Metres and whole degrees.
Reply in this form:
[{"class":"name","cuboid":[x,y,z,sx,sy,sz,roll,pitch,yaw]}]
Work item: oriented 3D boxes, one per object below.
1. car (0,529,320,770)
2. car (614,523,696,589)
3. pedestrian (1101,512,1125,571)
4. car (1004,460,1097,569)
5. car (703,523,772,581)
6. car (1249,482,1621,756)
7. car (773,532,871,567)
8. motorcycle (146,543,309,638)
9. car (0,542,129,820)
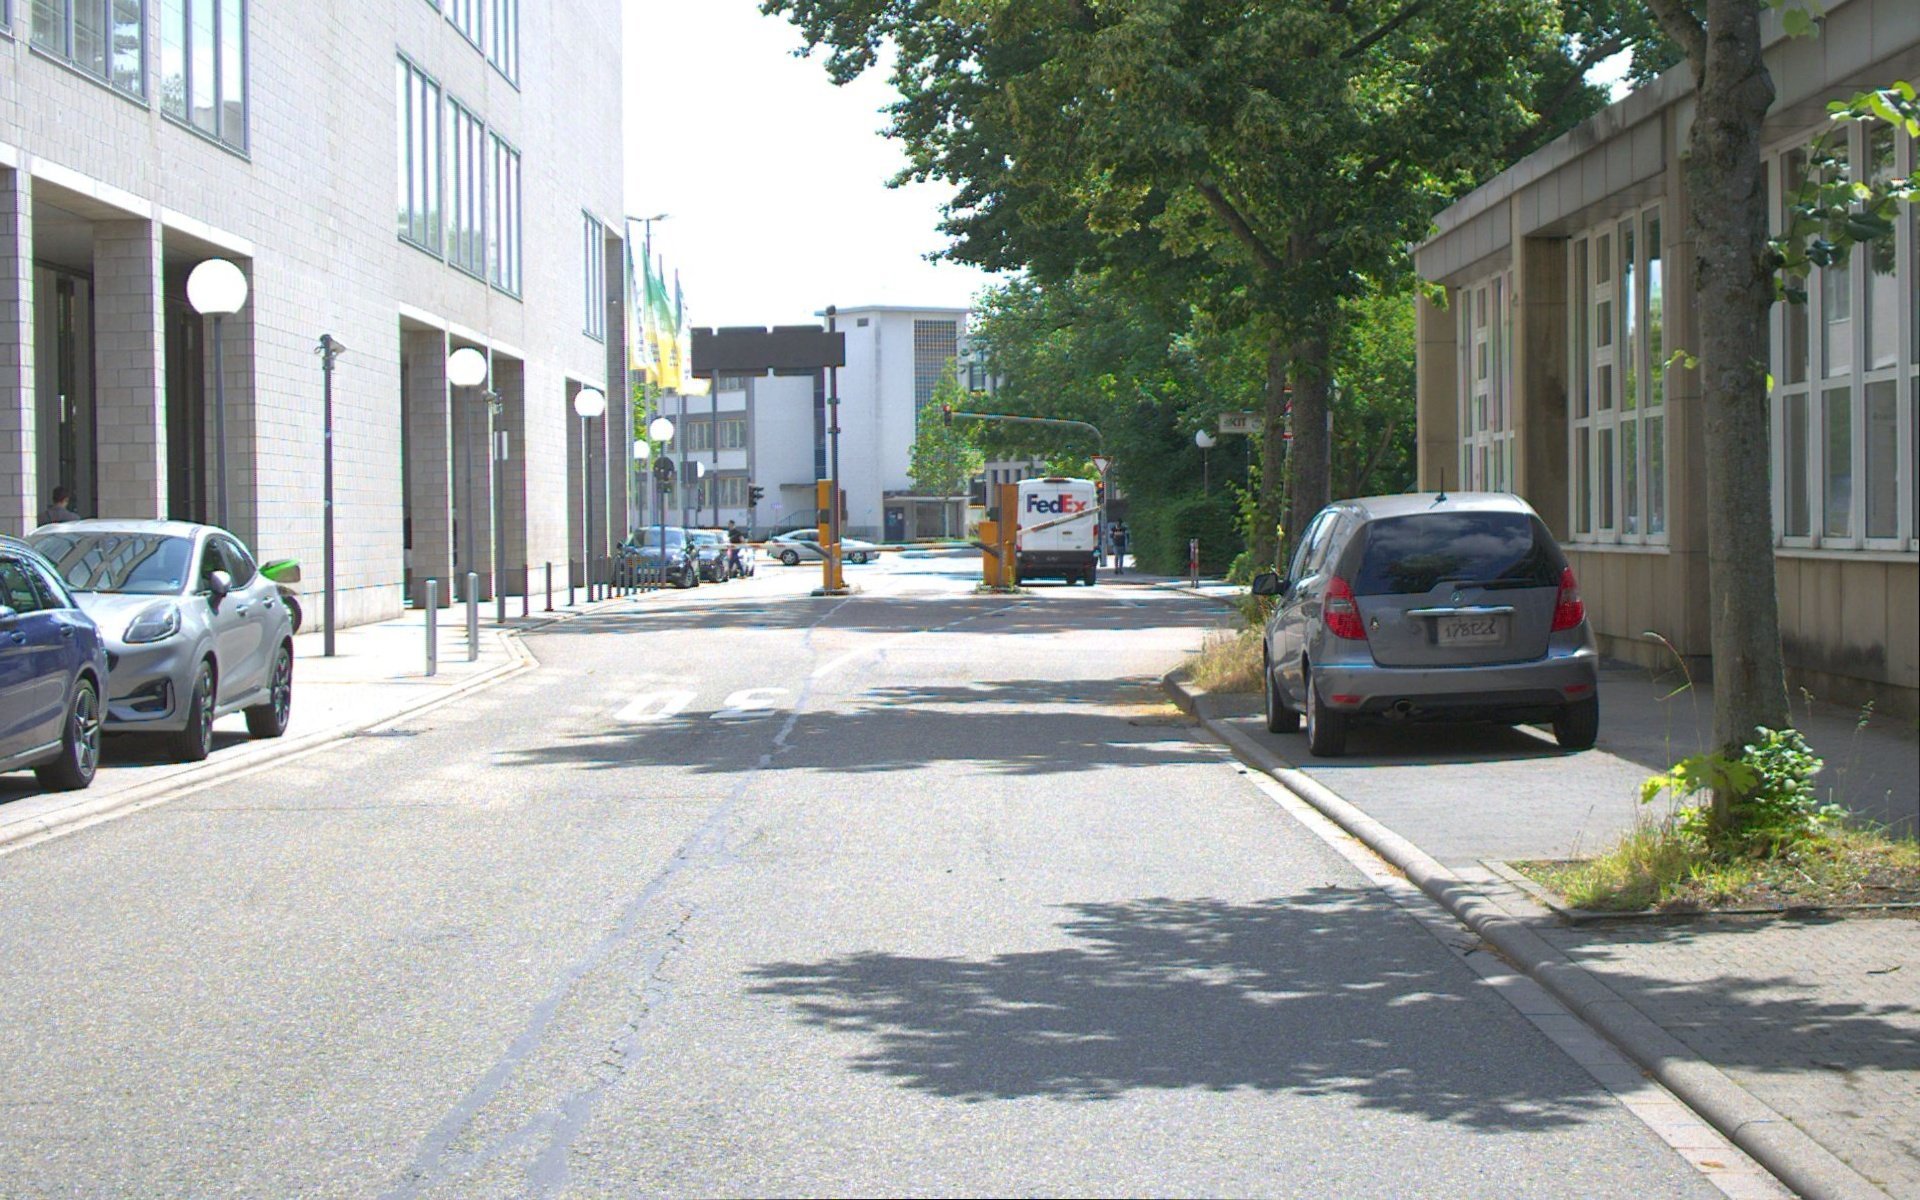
[{"class":"car","cuboid":[-5.566,0.266,23.314,1.631,1.479,4.178,0,1,1]},{"class":"car","cuboid":[-7.361,-1.058,83.121,1.646,1.493,3.729,-1,0,0]},{"class":"pedestrian","cuboid":[4.529,-1.734,101.993,0.660,1.723,0.635,-1,1,-1]},{"class":"car","cuboid":[2.144,-2.059,82.474,2.083,2.531,4.316,0,1,0]},{"class":"car","cuboid":[-6.144,-1.307,95.122,1.646,1.493,3.729,-1,0,0]},{"class":"car","cuboid":[2.997,0.063,22.462,1.858,1.568,4.000,-2,1,1]},{"class":"car","cuboid":[-5.437,-2.010,135.989,3.730,1.325,1.667,0,1,3]},{"class":"motorcycle","cuboid":[-8.897,-0.125,41.757,1.851,1.101,0.661,-1,1,-20]},{"class":"car","cuboid":[-5.801,0.416,17.984,1.766,1.422,4.234,0,1,2]}]
